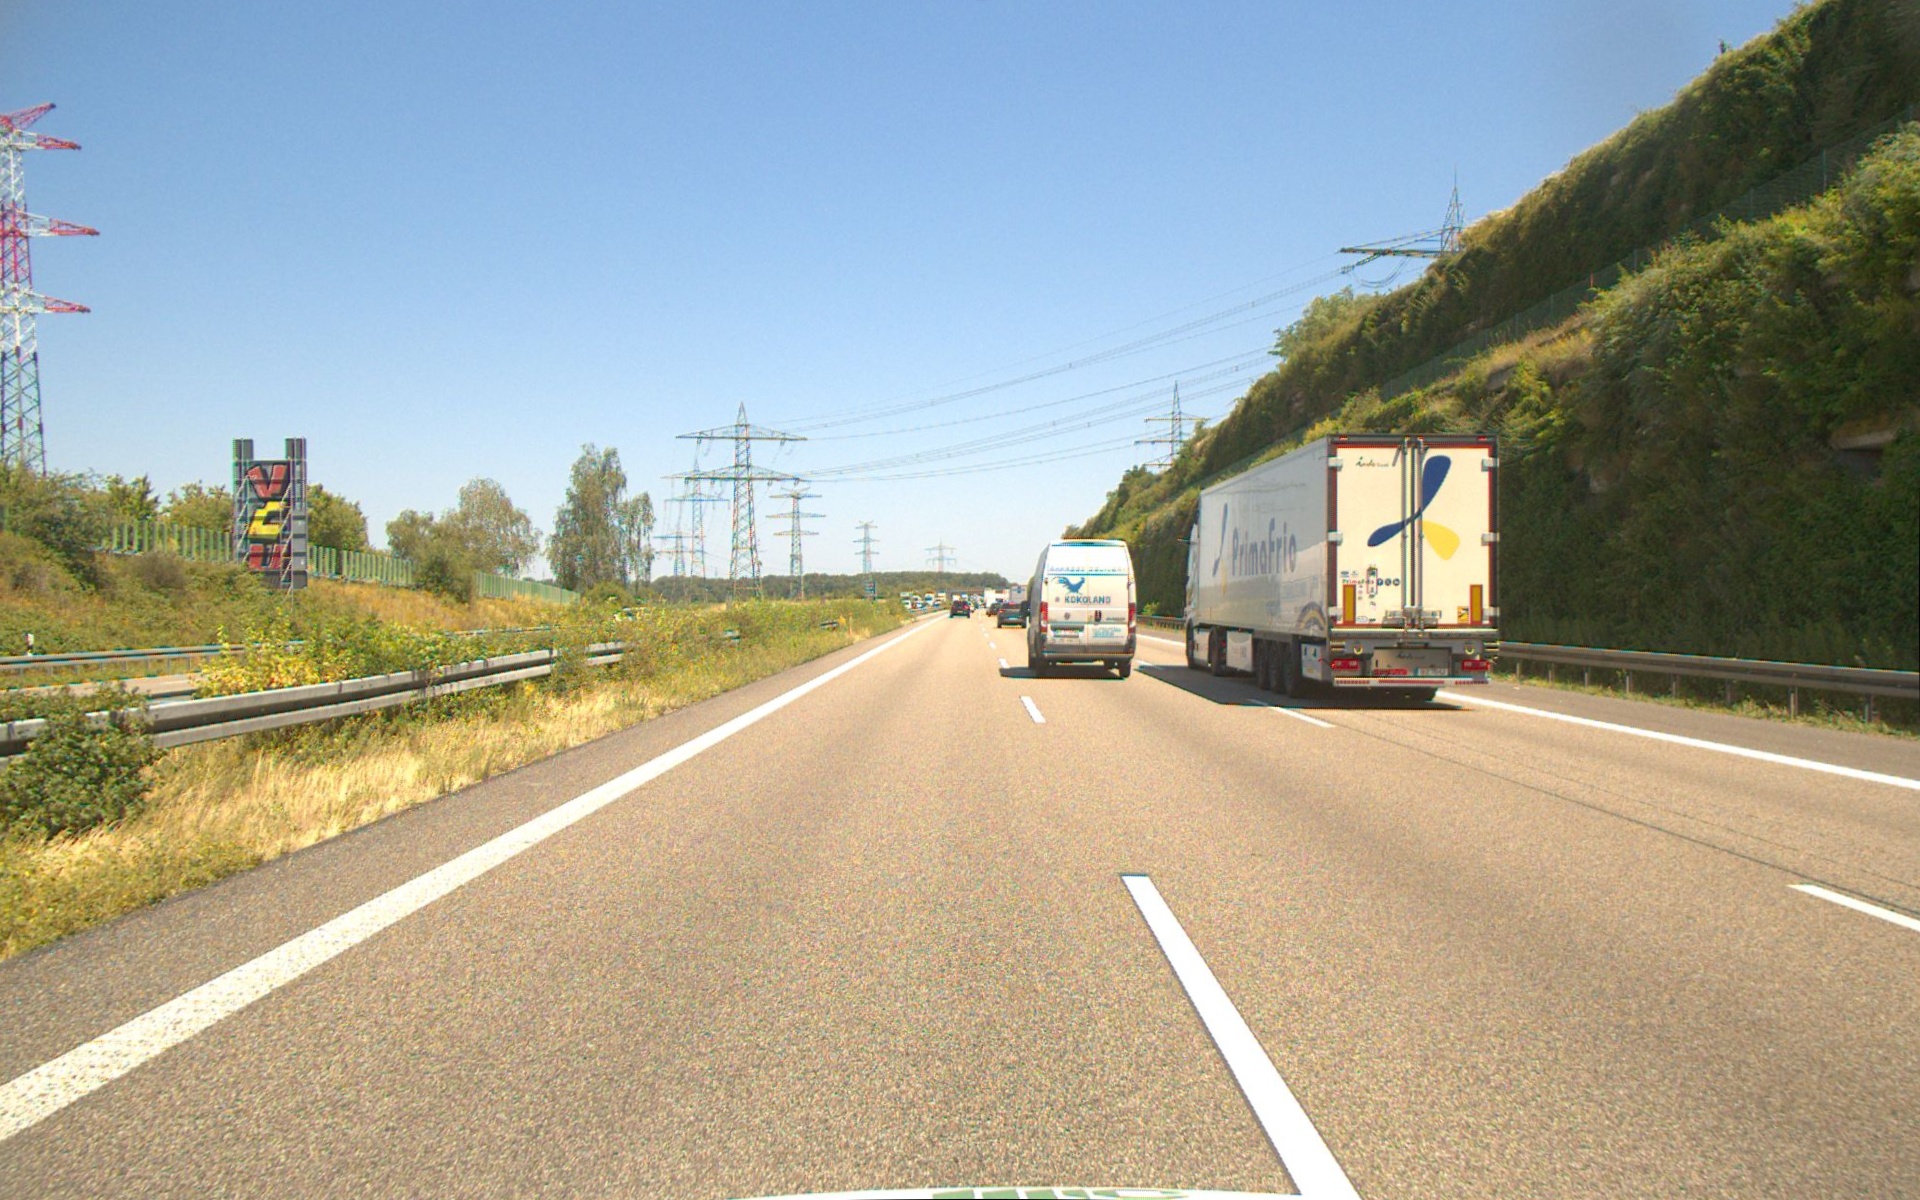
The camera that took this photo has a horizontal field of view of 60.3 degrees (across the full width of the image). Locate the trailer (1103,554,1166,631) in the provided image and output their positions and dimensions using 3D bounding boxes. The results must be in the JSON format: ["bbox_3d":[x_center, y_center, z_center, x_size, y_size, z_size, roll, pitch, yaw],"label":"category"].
[{"bbox_3d":[9.426,-0.406,89.901,2.583,3.965,7.068,1,0,0],"label":"trailer"}]

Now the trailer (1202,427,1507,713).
[{"bbox_3d":[6.694,-0.462,30.441,2.583,4.131,12.365,1,0,0],"label":"trailer"}]

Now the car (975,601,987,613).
[{"bbox_3d":[2.919,0.974,233.386,1.664,1.690,3.708,1,0,1],"label":"car"}]

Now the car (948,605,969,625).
[{"bbox_3d":[-0.095,1.414,161.657,1.941,1.849,3.813,1,0,1],"label":"car"}]

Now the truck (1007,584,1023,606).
[{"bbox_3d":[8.362,-0.794,251.974,2.199,3.329,6.009,1,0,1],"label":"truck"}]

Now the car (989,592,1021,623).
[{"bbox_3d":[2.714,0.447,101.333,1.759,1.849,3.800,1,0,-1],"label":"car"}]

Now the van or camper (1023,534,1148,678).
[{"bbox_3d":[2.619,0.117,35.845,2.185,2.831,5.422,1,0,-1],"label":"van or camper"}]

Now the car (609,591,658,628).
[{"bbox_3d":[-18.900,0.546,95.906,1.927,2.043,4.402,1,0,-1],"label":"car"}]

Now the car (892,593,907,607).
[{"bbox_3d":[-9.079,0.028,247.794,1.926,2.043,4.404,1,0,2],"label":"car"}]

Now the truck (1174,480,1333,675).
[{"bbox_3d":[6.702,-0.485,38.534,2.583,4.131,5.799,1,0,0],"label":"truck"}]

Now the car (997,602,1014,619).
[{"bbox_3d":[4.859,1.146,178.511,1.748,1.747,3.708,1,0,1],"label":"car"}]
